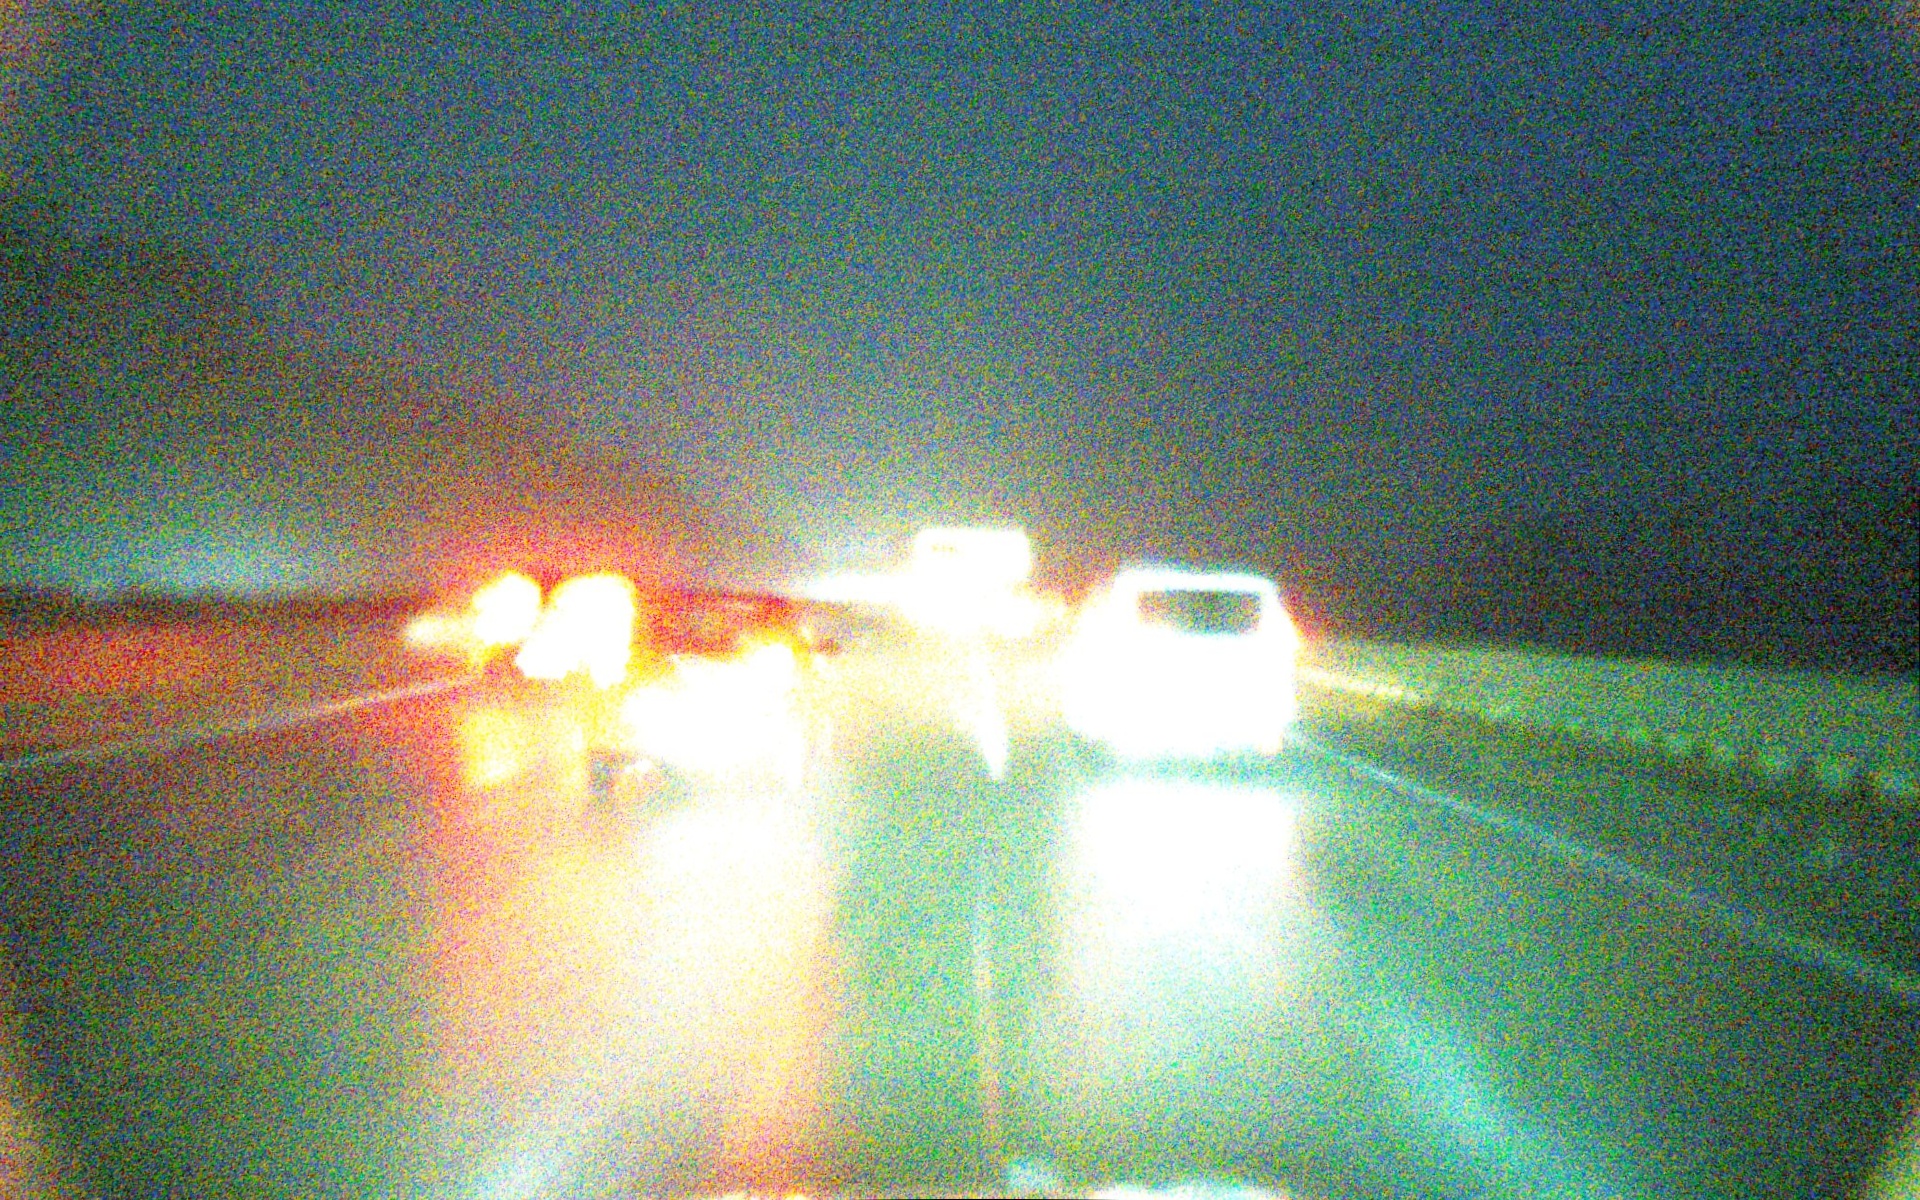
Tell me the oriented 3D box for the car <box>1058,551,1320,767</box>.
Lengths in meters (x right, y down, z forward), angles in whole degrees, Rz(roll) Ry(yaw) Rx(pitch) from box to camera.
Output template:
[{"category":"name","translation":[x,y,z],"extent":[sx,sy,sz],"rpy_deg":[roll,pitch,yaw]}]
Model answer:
[{"category":"car","translation":[2.093,0.524,16.562],"extent":[1.913,1.823,5.124],"rpy_deg":[0,-1,0]}]

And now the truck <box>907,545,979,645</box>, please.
[{"category":"truck","translation":[-1.032,-0.230,100.525],"extent":[4.082,5.641,13.072],"rpy_deg":[0,-1,0]}]

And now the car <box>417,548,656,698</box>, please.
[{"category":"car","translation":[-5.575,0.301,22.439],"extent":[1.952,1.808,4.887],"rpy_deg":[0,-1,0]}]

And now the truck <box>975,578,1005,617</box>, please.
[{"category":"truck","translation":[3.927,-0.227,220.186],"extent":[3.746,5.001,11.604],"rpy_deg":[0,-1,-1]}]

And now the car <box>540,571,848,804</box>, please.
[{"category":"car","translation":[-2.001,0.631,13.690],"extent":[1.876,1.622,4.233],"rpy_deg":[0,-1,0]}]

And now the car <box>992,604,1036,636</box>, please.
[{"category":"car","translation":[2.551,0.924,79.309],"extent":[1.852,1.377,3.999],"rpy_deg":[3,0,-1]}]
